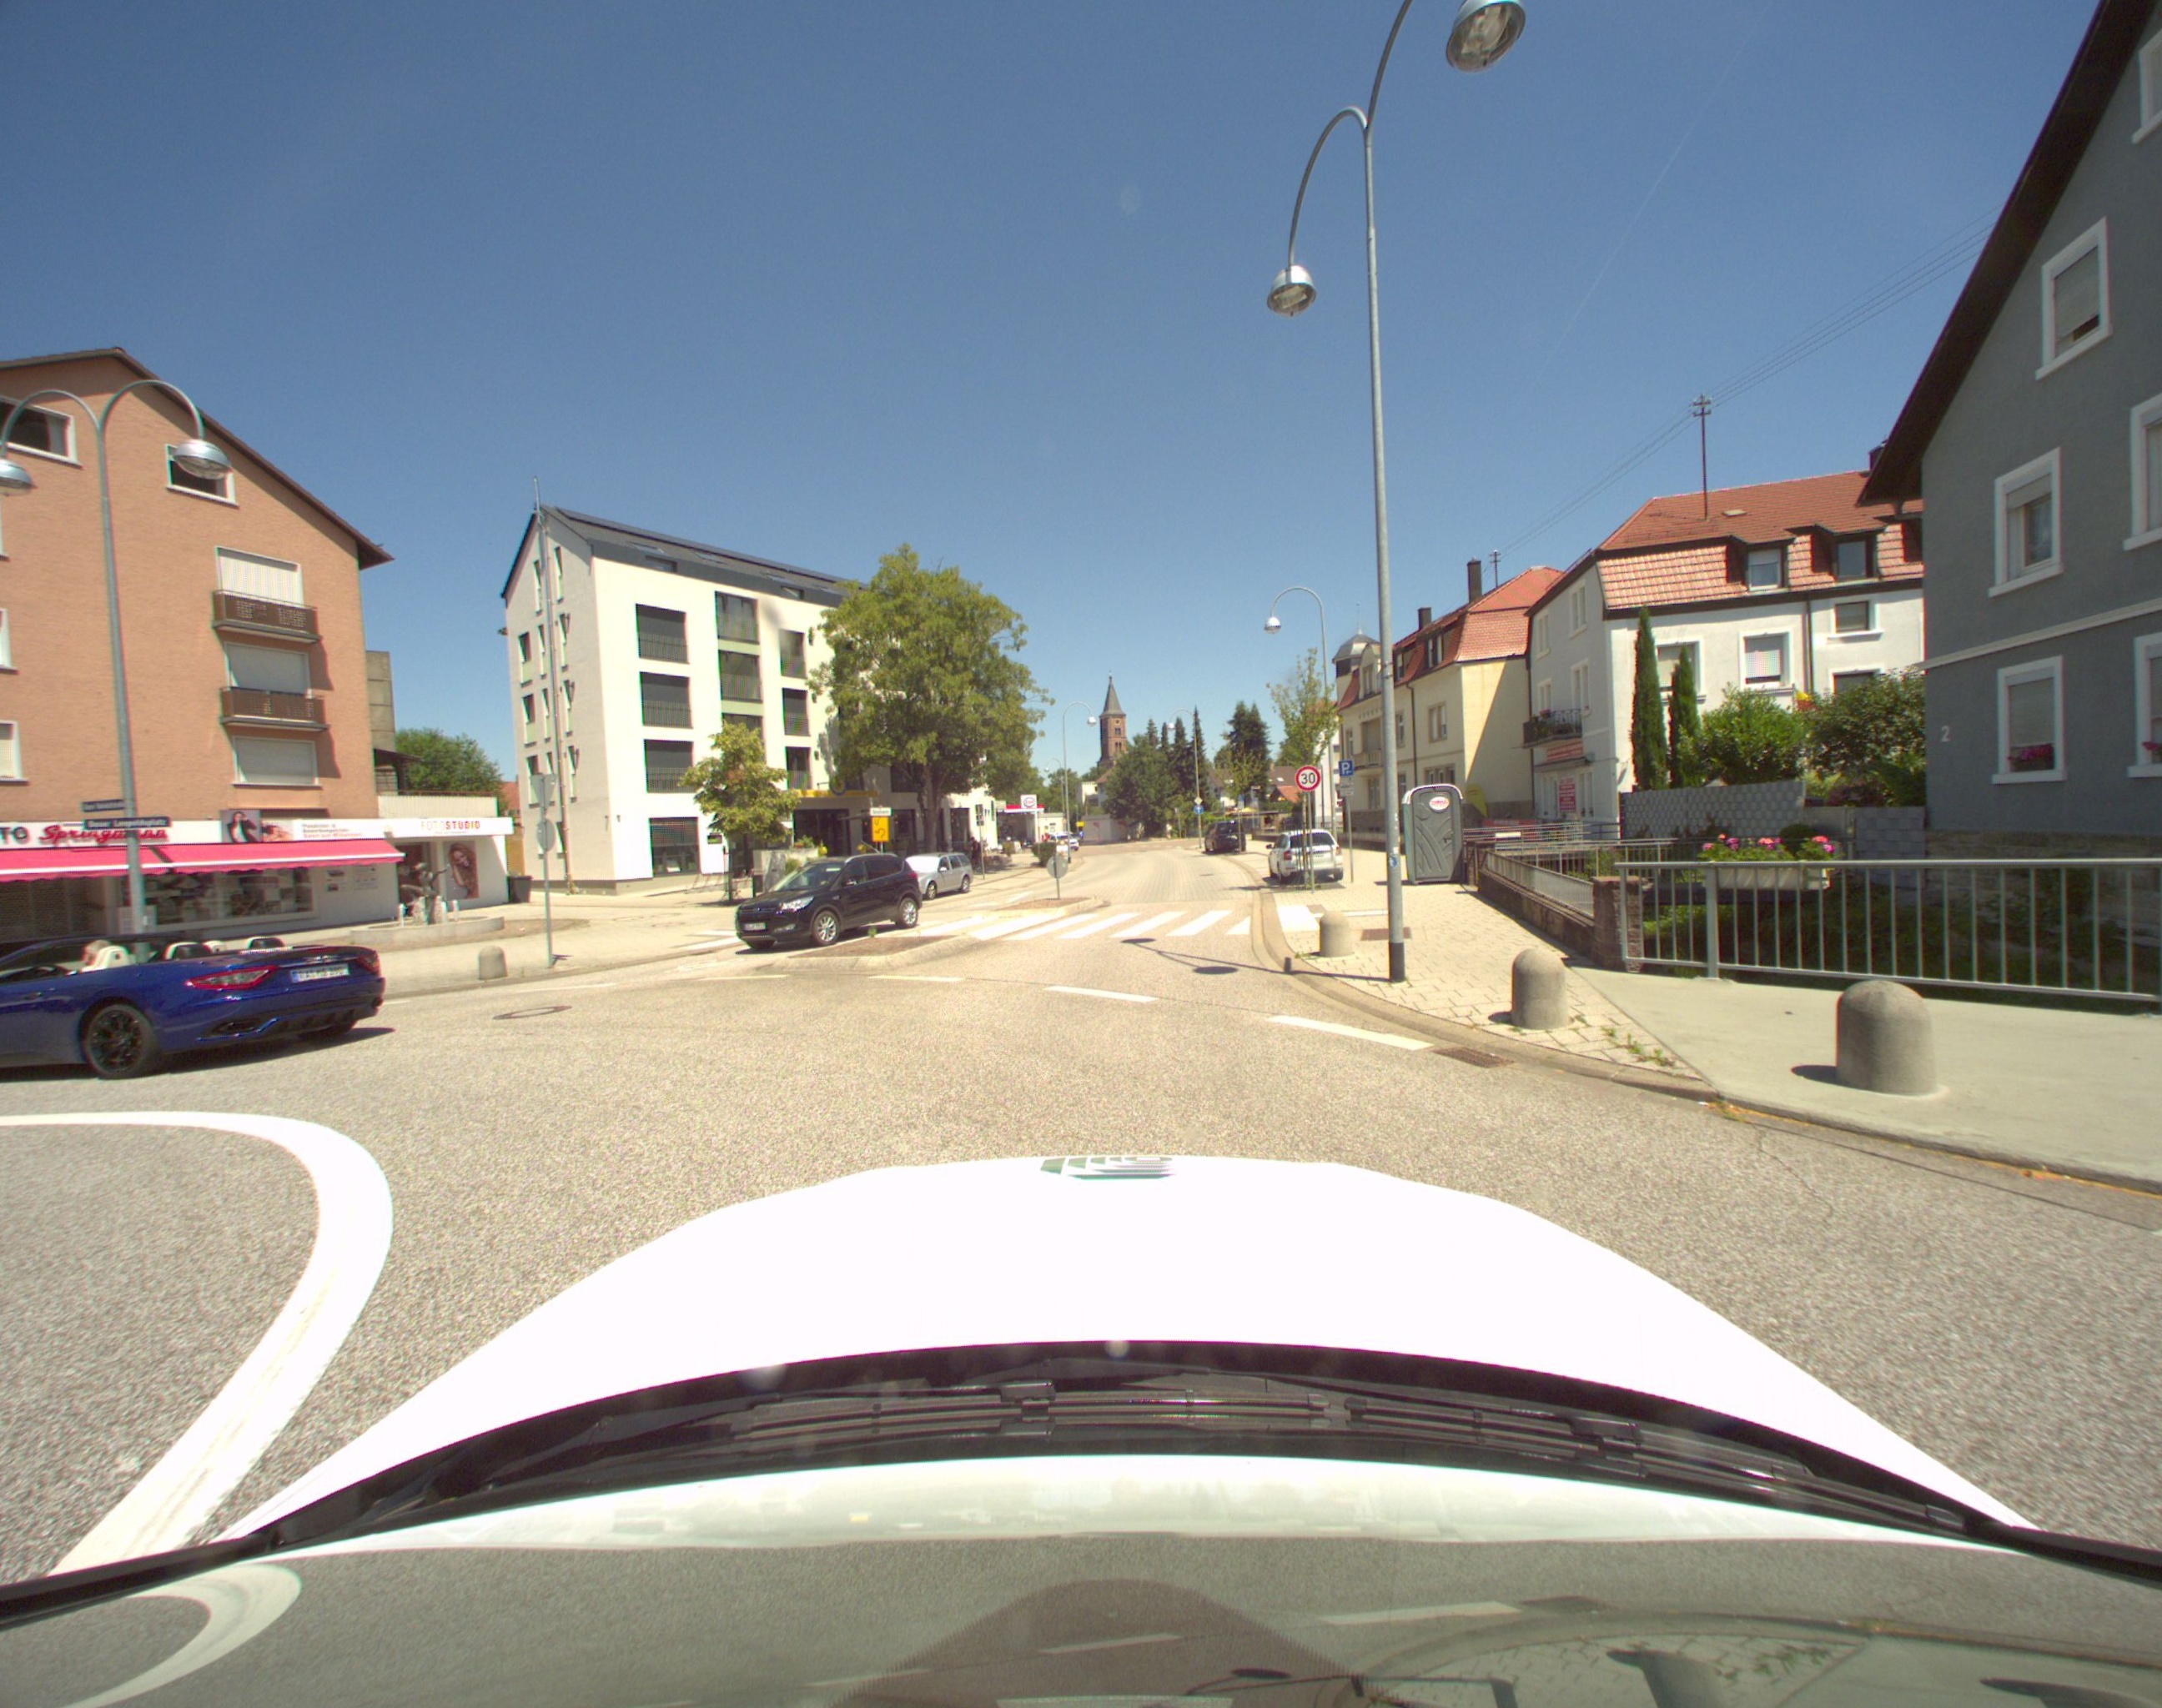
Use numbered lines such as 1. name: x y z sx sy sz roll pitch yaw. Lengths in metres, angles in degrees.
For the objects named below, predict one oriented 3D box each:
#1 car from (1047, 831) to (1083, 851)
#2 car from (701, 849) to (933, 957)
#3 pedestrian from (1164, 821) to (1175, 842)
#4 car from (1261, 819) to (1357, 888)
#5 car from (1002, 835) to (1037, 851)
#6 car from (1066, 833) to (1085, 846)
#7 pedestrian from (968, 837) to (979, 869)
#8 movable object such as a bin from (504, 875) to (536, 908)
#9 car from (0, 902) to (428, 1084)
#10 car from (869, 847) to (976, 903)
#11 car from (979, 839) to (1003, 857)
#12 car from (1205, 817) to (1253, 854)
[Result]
1. car: -1.409 -1.124 70.563 1.838 1.573 3.974 -5 2 -20
2. car: -5.215 0.902 16.870 1.976 1.688 4.552 -4 1 22
3. pedestrian: 8.185 -2.089 75.218 0.848 1.813 0.544 -4 4 -30
4. car: 6.515 -0.081 23.745 1.983 1.584 4.297 -8 1 8
5. car: -6.653 -1.157 87.732 1.845 1.573 3.956 -5 2 -36
6. car: -0.659 -1.662 91.826 1.540 1.378 3.988 -4 2 -9
7. pedestrian: -5.534 -0.048 41.981 0.403 1.628 0.651 -2 4 0
8. movable object such as a bin: -21.400 1.418 31.083 0.764 1.154 0.766 1 5 40
9. car: -9.778 1.387 8.422 4.587 1.398 1.987 -3 0 7
10. car: -5.306 0.648 27.845 1.781 1.589 4.020 -1 3 18
11. car: -8.678 -0.615 78.153 1.833 1.573 3.983 -4 2 -13
12. car: 8.469 -1.123 46.998 1.987 1.864 4.289 -2 4 0
